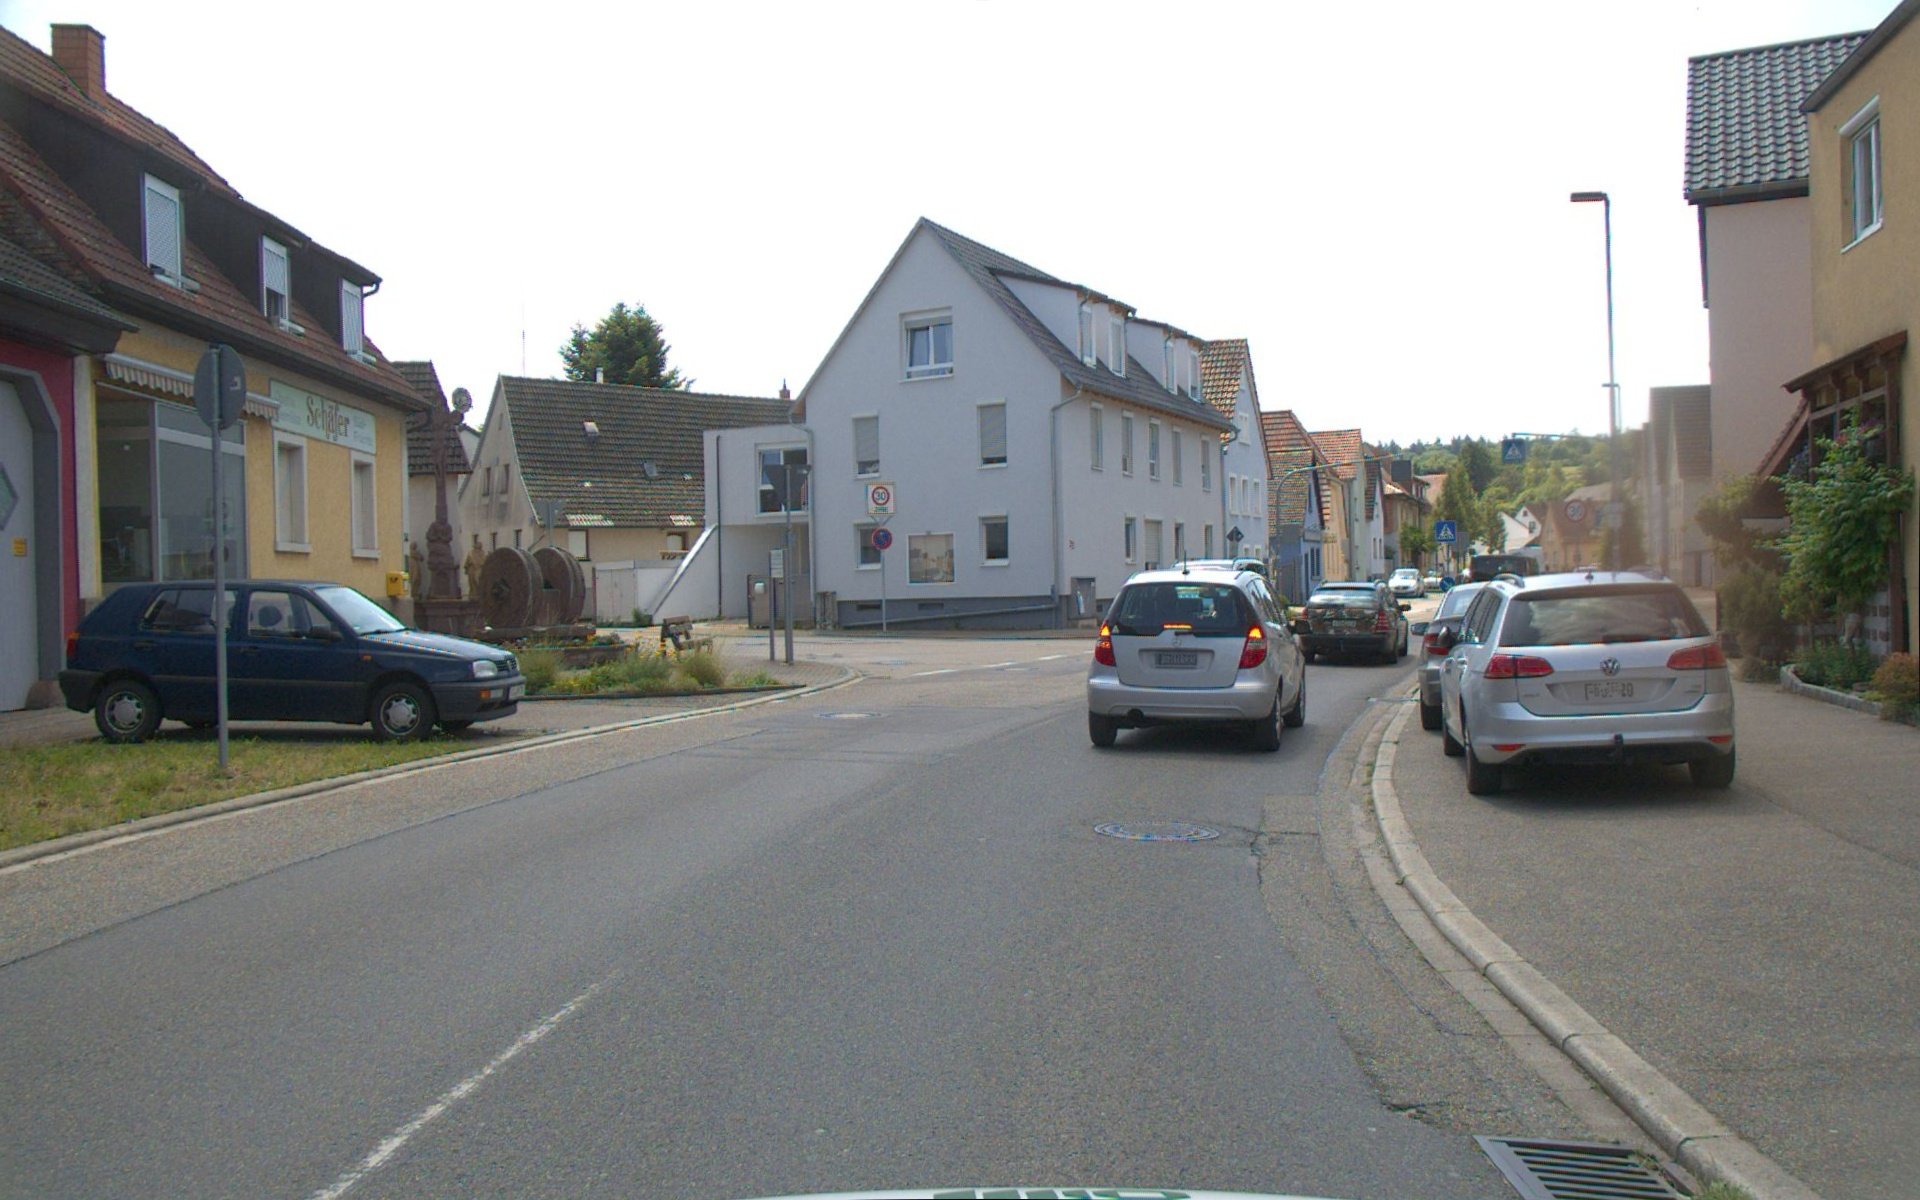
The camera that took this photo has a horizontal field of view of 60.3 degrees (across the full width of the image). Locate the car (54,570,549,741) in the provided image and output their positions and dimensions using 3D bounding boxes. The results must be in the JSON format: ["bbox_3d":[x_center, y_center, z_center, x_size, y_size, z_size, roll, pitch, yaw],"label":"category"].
[{"bbox_3d":[-5.959,0.480,15.319,3.887,1.489,1.720,0,0,-2],"label":"car"}]

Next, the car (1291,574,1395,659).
[{"bbox_3d":[6.925,0.308,30.013,1.712,1.441,4.003,0,-1,13],"label":"car"}]

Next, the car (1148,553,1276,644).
[{"bbox_3d":[5.576,0.008,36.033,1.952,1.831,4.937,0,-1,18],"label":"car"}]

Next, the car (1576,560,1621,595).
[{"bbox_3d":[30.679,-1.059,79.522,1.952,1.534,4.000,0,-1,21],"label":"car"}]

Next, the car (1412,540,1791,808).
[{"bbox_3d":[4.523,0.455,12.349,1.844,1.556,4.339,-4,0,11],"label":"car"}]

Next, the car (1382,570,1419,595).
[{"bbox_3d":[24.900,-0.974,93.386,1.951,1.344,3.711,0,-1,16],"label":"car"}]

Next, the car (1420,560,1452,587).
[{"bbox_3d":[30.942,-1.733,107.429,1.633,1.624,4.000,0,-1,21],"label":"car"}]

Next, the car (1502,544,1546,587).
[{"bbox_3d":[28.546,-1.715,83.638,1.952,2.049,4.000,0,-1,21],"label":"car"}]

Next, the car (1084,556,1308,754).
[{"bbox_3d":[2.412,0.447,16.131,1.772,1.672,3.732,1,1,14],"label":"car"}]

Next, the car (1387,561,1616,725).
[{"bbox_3d":[5.596,0.439,17.592,1.732,1.424,4.428,-4,-2,11],"label":"car"}]

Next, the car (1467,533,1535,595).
[{"bbox_3d":[17.610,-1.142,53.751,1.952,1.848,4.001,0,-1,20],"label":"car"}]
